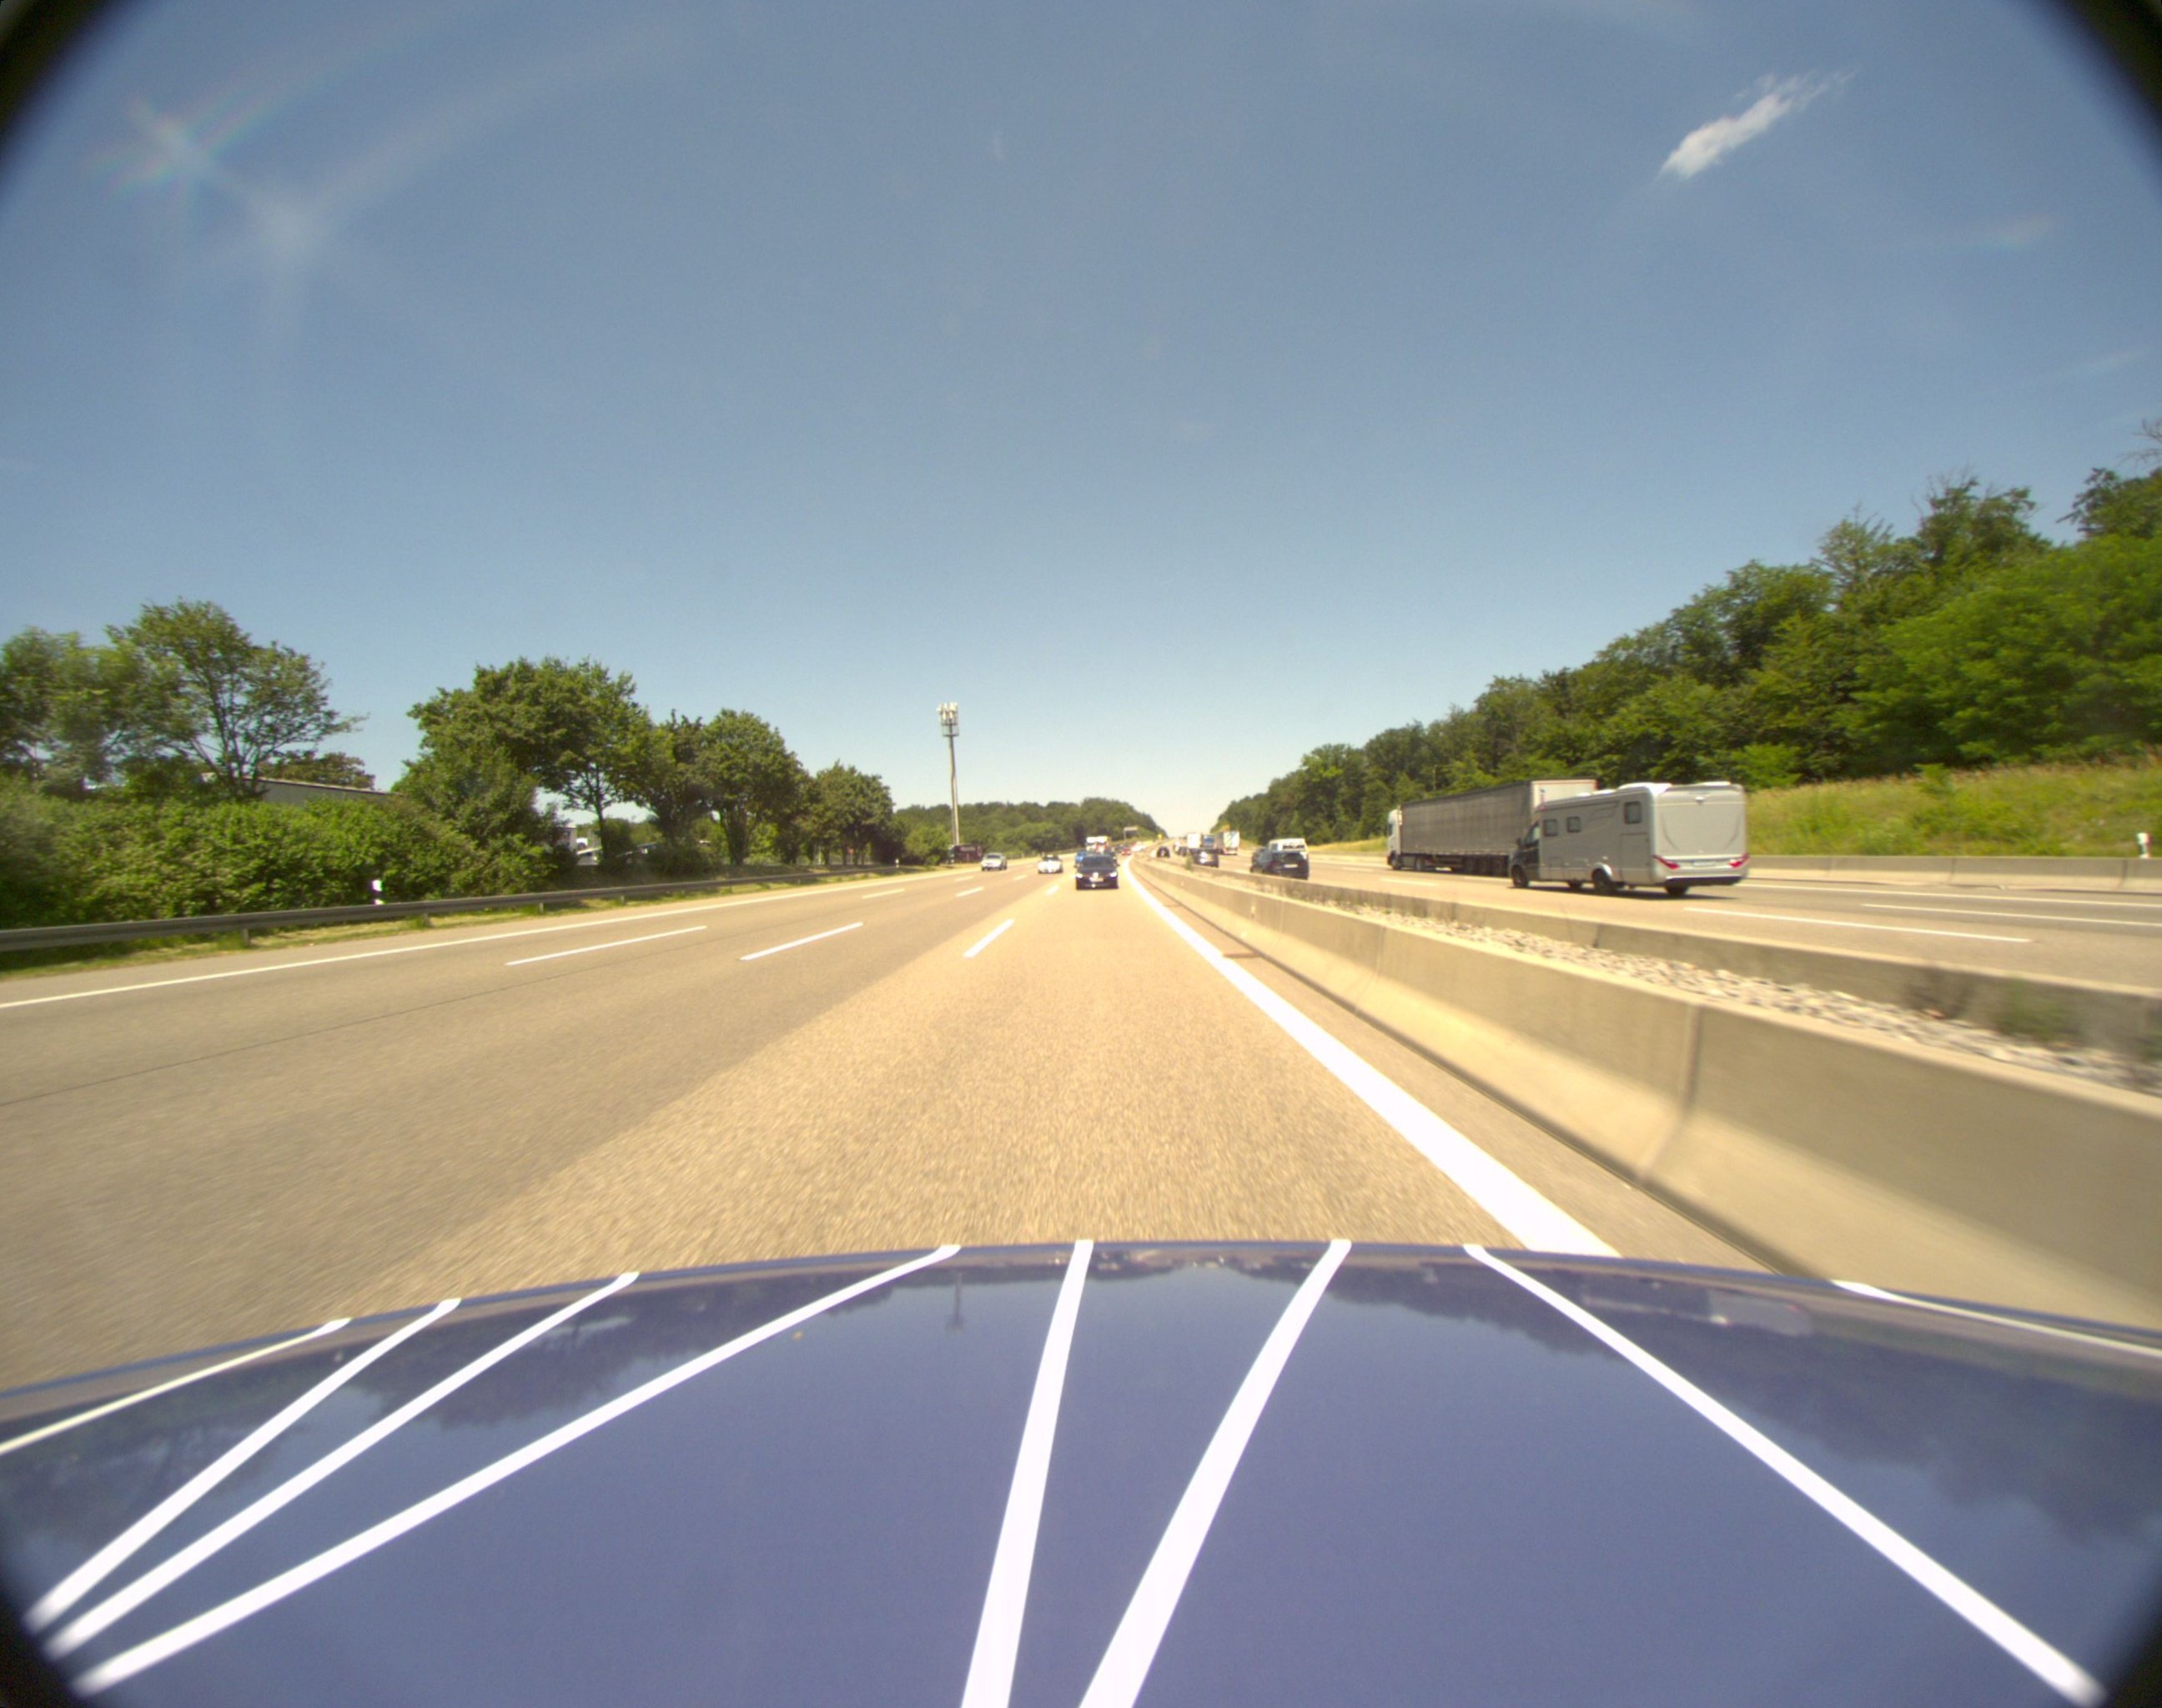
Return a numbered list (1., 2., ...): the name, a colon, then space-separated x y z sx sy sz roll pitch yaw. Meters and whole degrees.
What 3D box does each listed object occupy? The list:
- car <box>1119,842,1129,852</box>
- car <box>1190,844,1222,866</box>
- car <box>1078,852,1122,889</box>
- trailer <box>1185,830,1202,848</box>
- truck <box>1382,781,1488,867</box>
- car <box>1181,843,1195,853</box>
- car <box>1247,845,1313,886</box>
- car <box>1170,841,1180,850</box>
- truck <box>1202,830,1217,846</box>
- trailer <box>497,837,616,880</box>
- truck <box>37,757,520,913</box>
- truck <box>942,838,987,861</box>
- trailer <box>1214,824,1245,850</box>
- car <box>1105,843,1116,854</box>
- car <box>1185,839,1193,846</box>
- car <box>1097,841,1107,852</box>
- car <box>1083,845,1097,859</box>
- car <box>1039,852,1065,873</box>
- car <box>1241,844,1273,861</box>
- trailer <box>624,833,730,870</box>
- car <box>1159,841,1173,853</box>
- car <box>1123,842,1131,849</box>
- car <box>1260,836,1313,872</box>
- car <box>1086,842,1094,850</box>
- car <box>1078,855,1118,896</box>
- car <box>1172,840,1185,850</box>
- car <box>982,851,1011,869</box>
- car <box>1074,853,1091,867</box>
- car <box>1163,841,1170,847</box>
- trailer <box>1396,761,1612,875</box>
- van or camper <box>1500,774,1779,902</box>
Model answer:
1. car: 8.790 -1.407 154.391 1.998 2.001 4.001 -3 -1 3
2. car: 9.767 0.035 59.800 1.877 1.624 5.164 -2 1 3
3. car: 0.869 0.687 33.130 1.760 1.430 4.000 -2 1 3
4. trailer: 26.565 -3.494 180.213 2.943 4.077 12.155 -2 1 4
5. truck: 19.853 -1.639 43.118 3.049 4.347 6.455 -2 1 2
6. car: 17.080 -0.988 121.508 1.779 1.456 4.000 -2 1 2
7. car: 8.440 0.434 32.645 1.678 1.488 4.952 -2 1 3
8. car: 19.463 -1.748 157.466 1.822 1.792 4.892 -2 1 3
9. truck: 31.656 -3.909 187.193 2.727 3.991 6.939 -2 1 4
10. trailer: -53.274 0.383 77.412 9.612 4.012 2.309 -2 1 -41
11. truck: -33.953 -0.672 34.588 3.527 5.289 16.391 -2 0 4
12. truck: -20.358 -0.858 133.773 2.748 3.551 12.336 -2 1 16
13. trailer: 25.364 -2.855 130.536 3.237 4.014 15.288 -2 1 4
14. car: 5.844 -1.083 149.029 1.998 1.848 3.999 -3 1 1
15. car: 33.818 -3.551 238.132 2.081 1.954 5.025 -2 1 4
16. car: 5.022 -1.788 182.040 2.234 2.372 4.161 -3 1 1
17. car: 1.432 -0.311 120.306 1.998 2.002 4.000 -2 1 4
18. car: -2.212 0.614 58.654 1.729 1.521 3.741 -2 1 1
19. car: 15.970 -0.166 69.088 1.998 1.487 4.799 -1 0 4
20. trailer: -45.212 -0.299 85.335 2.237 3.696 10.135 -1 2 45
21. car: 13.170 -1.099 118.279 1.831 1.819 4.985 -2 1 4
22. car: 14.014 -2.548 233.312 1.999 2.002 3.999 -3 1 -1
23. car: 12.429 -0.022 46.239 2.007 2.002 5.185 -2 1 3
24. car: 2.460 -2.087 201.825 1.898 2.002 3.808 -2 1 4
25. car: 0.668 0.779 29.383 1.447 1.376 3.049 -2 1 2
26. car: 17.373 -1.551 135.510 1.922 1.674 4.000 -2 1 4
27. car: -7.879 0.550 71.365 1.998 1.521 4.000 -2 1 4
28. car: 0.230 0.702 93.667 1.998 1.521 4.233 -3 1 2
29. car: 21.886 -2.563 194.879 1.753 1.510 4.827 -2 1 6
30. trailer: 19.559 -1.533 36.958 3.038 4.335 14.275 -2 1 2
31. van or camper: 15.135 -0.403 21.494 2.565 2.914 7.349 -1 1 1
